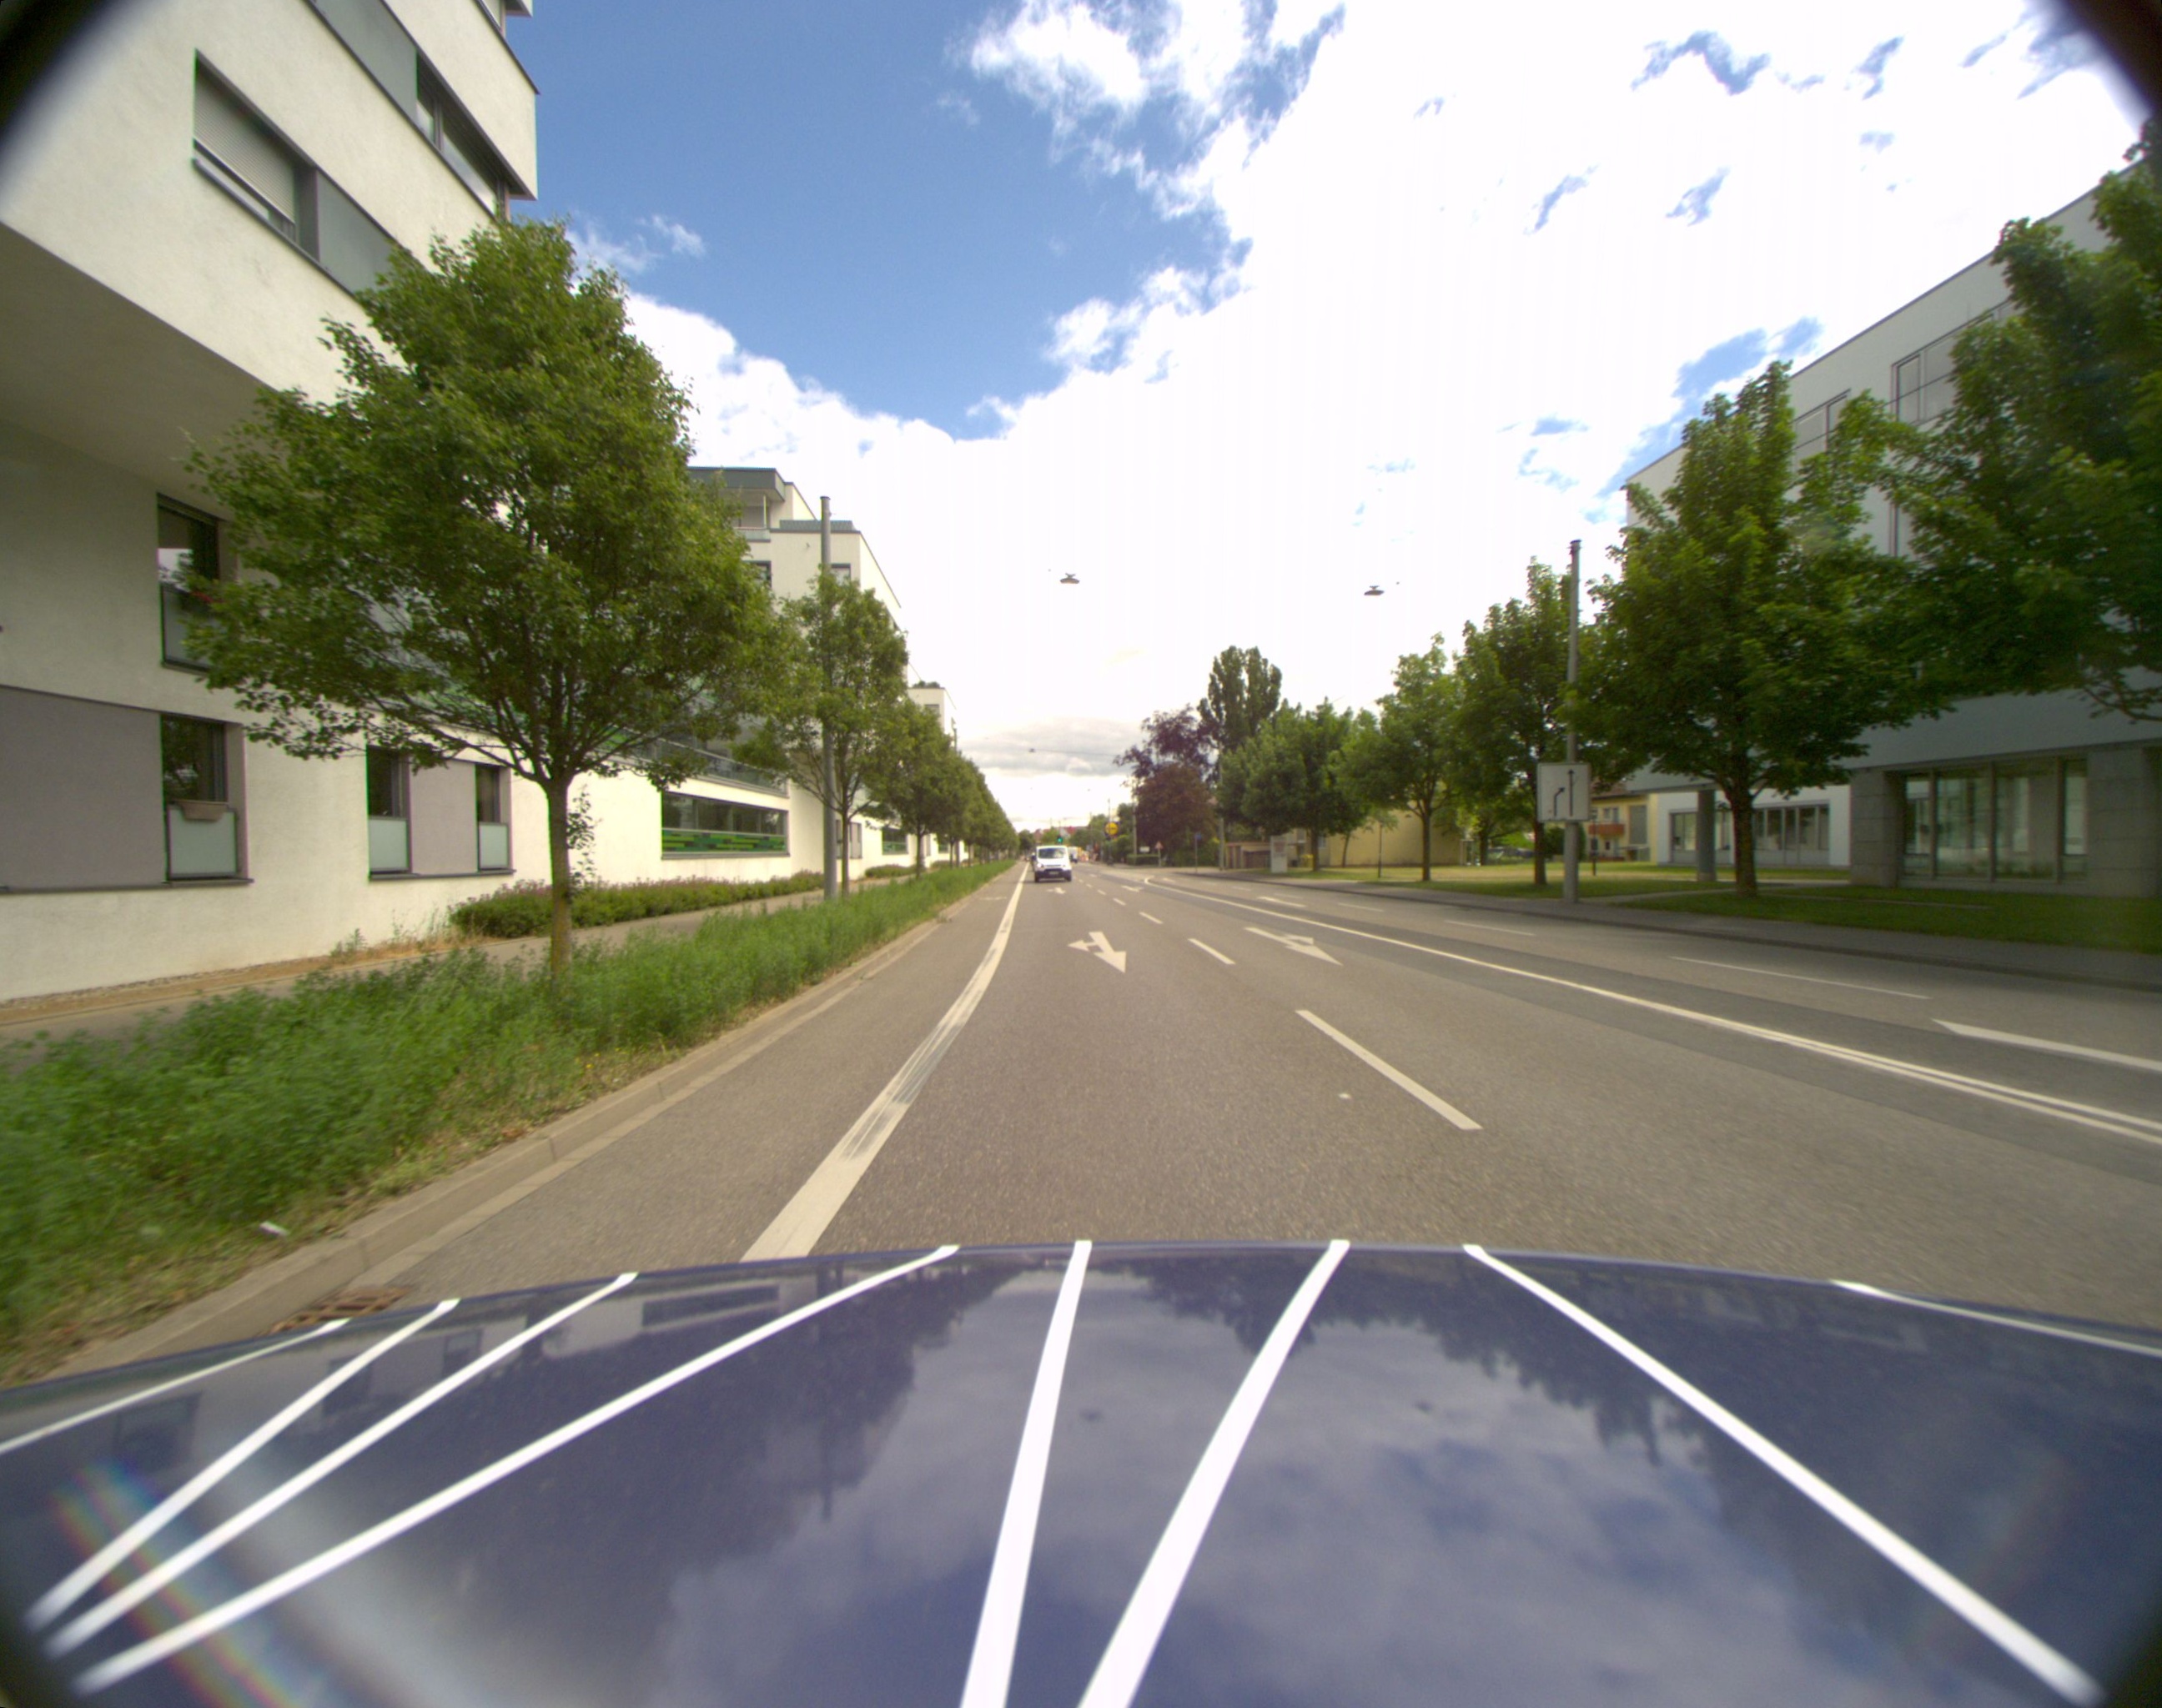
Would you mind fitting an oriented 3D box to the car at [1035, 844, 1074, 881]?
[{"bbox_3d":[-1.539,0.412,42.391,1.999,1.905,3.997,-2,1,-4],"label":"car"}]

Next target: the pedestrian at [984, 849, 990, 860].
[{"bbox_3d":[-15.972,0.072,129.247,0.621,1.830,0.587,-4,2,-30],"label":"pedestrian"}]

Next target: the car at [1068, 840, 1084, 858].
[{"bbox_3d":[-0.886,-0.830,128.197,2.150,2.803,6.145,1,0,-4],"label":"car"}]
